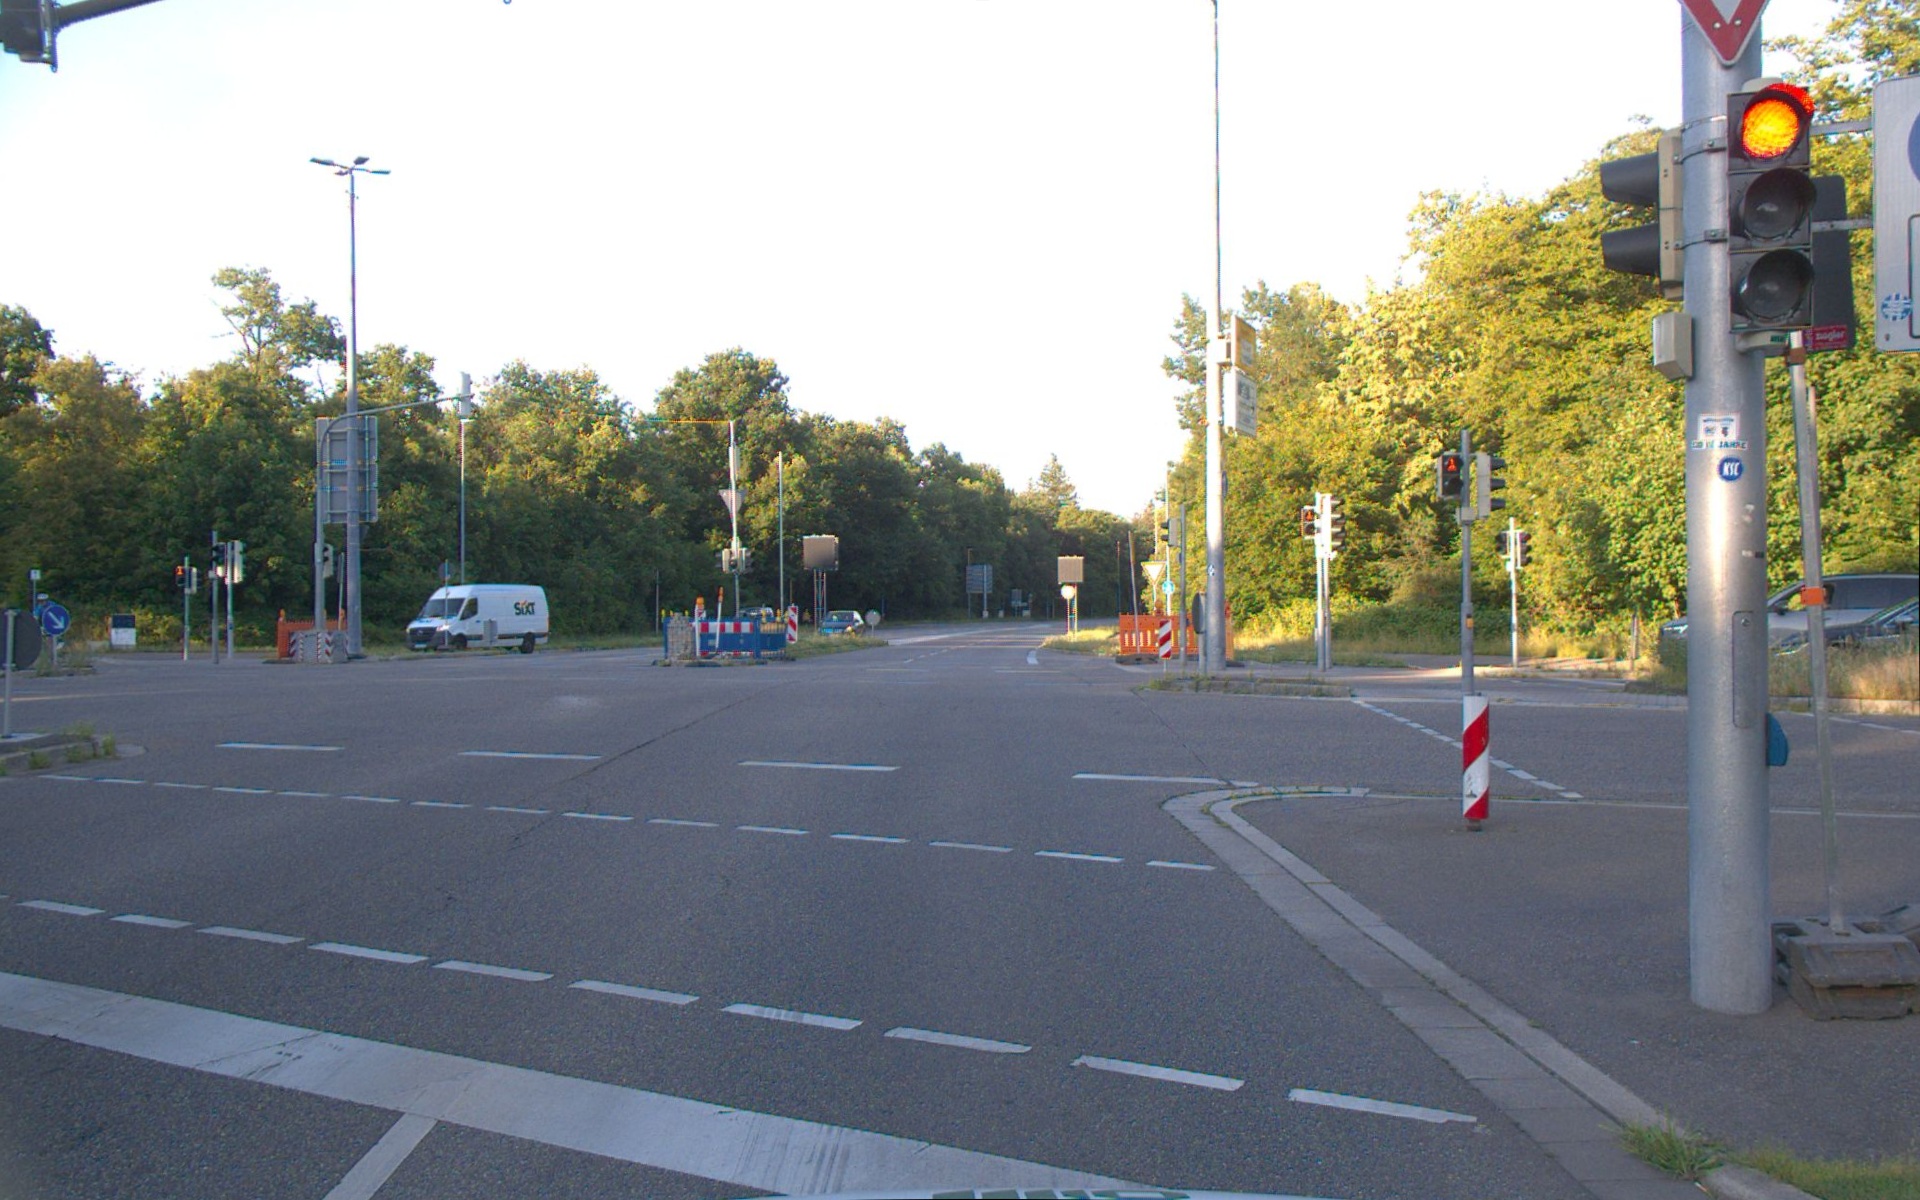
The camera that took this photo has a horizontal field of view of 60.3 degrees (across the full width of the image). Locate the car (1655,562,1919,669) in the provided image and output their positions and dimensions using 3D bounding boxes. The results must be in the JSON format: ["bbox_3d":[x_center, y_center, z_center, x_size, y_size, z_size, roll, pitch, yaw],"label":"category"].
[{"bbox_3d":[13.746,0.244,26.501,4.716,1.626,2.000,-1,0,21],"label":"car"}]

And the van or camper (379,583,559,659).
[{"bbox_3d":[-18.429,0.749,62.564,2.825,2.699,7.123,0,0,20],"label":"van or camper"}]

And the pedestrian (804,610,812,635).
[{"bbox_3d":[-12.320,1.824,134.206,0.511,2.049,0.600,1,-1,-1],"label":"pedestrian"}]

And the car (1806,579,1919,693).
[{"bbox_3d":[13.718,0.469,22.471,3.783,1.515,1.771,0,0,22],"label":"car"}]

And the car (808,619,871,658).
[{"bbox_3d":[-5.770,1.814,79.594,1.951,1.668,4.004,-2,1,11],"label":"car"}]
